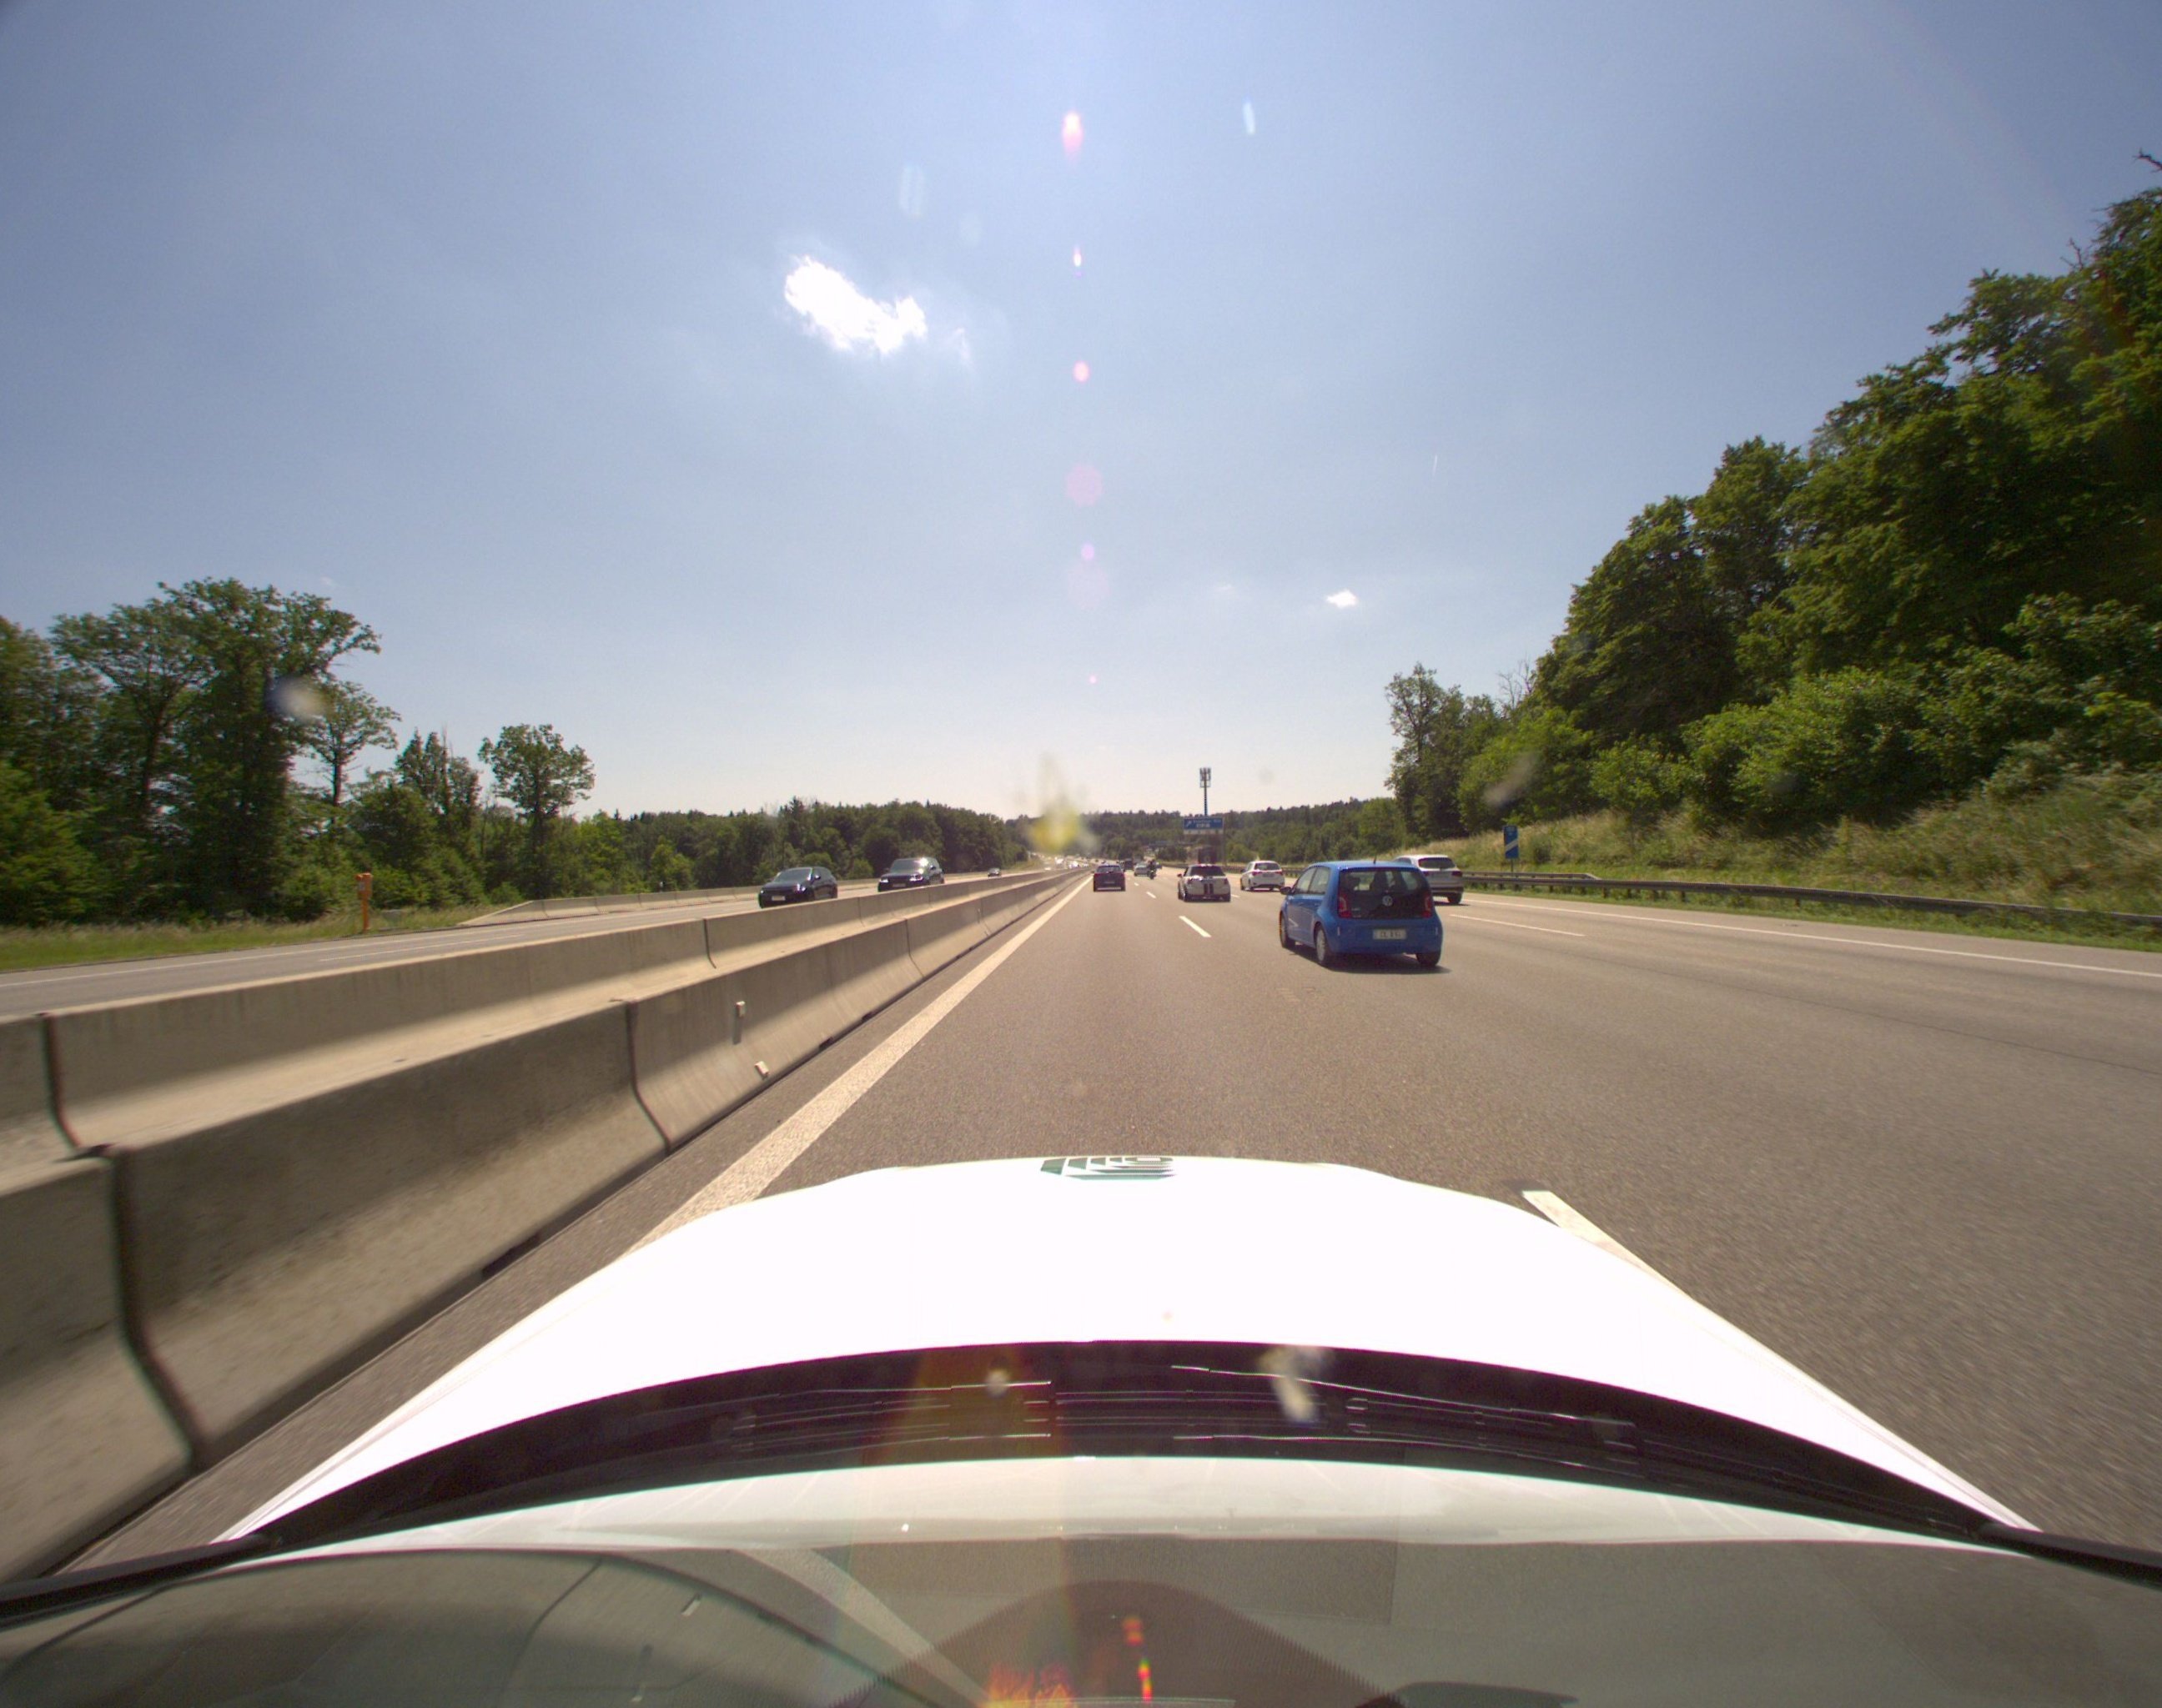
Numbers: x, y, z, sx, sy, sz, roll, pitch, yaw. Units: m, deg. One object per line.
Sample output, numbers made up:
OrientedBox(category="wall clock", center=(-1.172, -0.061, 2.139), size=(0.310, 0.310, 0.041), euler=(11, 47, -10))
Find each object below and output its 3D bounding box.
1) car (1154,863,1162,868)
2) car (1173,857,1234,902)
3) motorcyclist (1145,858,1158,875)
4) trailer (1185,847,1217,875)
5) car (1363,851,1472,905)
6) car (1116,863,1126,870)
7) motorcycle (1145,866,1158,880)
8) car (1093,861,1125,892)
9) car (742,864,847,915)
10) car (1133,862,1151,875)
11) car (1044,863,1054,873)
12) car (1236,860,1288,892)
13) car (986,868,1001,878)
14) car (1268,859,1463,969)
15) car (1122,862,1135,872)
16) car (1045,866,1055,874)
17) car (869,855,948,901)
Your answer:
OrientedBox(category="car", center=(18.056, 2.644, 190.546), size=(1.603, 1.212, 3.459), euler=(-2, -1, 0))
OrientedBox(category="car", center=(4.604, 0.956, 31.068), size=(1.834, 1.552, 4.002), euler=(2, -1, 2))
OrientedBox(category="motorcyclist", center=(6.158, 1.071, 71.350), size=(0.958, 1.437, 1.235), euler=(-3, 0, 2))
OrientedBox(category="trailer", center=(16.969, 1.055, 115.969), size=(2.847, 3.688, 13.546), euler=(-2, -1, 2))
OrientedBox(category="car", center=(11.630, 0.757, 28.564), size=(1.794, 1.731, 5.241), euler=(0, 0, 2))
OrientedBox(category="car", center=(9.086, 2.854, 185.969), size=(1.987, 1.684, 4.423), euler=(0, 0, 0))
OrientedBox(category="motorcycle", center=(6.201, 1.631, 71.530), size=(0.974, 1.129, 2.271), euler=(-2, 0, 1))
OrientedBox(category="car", center=(1.510, 1.151, 43.495), size=(1.618, 1.487, 3.687), euler=(-1, 0, 2))
OrientedBox(category="car", center=(-11.010, 1.309, 31.778), size=(1.986, 1.675, 5.282), euler=(-4, -1, 1))
OrientedBox(category="car", center=(6.684, 1.595, 88.866), size=(1.776, 1.265, 3.461), euler=(-2, 0, 2))
OrientedBox(category="car", center=(-9.843, 4.253, 249.624), size=(2.213, 2.659, 8.178), euler=(-3, -1, 2))
OrientedBox(category="car", center=(8.960, 1.064, 40.590), size=(1.660, 1.433, 4.376), euler=(-2, 0, 1))
OrientedBox(category="car", center=(-14.331, 3.132, 133.939), size=(1.832, 1.441, 4.764), euler=(-4, -1, 1))
OrientedBox(category="car", center=(4.178, 0.807, 12.646), size=(1.730, 1.411, 4.002), euler=(-1, -1, 2))
OrientedBox(category="car", center=(8.654, 2.381, 149.066), size=(2.090, 1.851, 4.081), euler=(-2, 0, 1))
OrientedBox(category="car", center=(-6.149, 3.117, 160.938), size=(1.832, 1.441, 4.000), euler=(-1, -1, 1))
OrientedBox(category="car", center=(-7.115, 0.947, 34.214), size=(1.986, 1.673, 5.282), euler=(-4, -1, 1))
